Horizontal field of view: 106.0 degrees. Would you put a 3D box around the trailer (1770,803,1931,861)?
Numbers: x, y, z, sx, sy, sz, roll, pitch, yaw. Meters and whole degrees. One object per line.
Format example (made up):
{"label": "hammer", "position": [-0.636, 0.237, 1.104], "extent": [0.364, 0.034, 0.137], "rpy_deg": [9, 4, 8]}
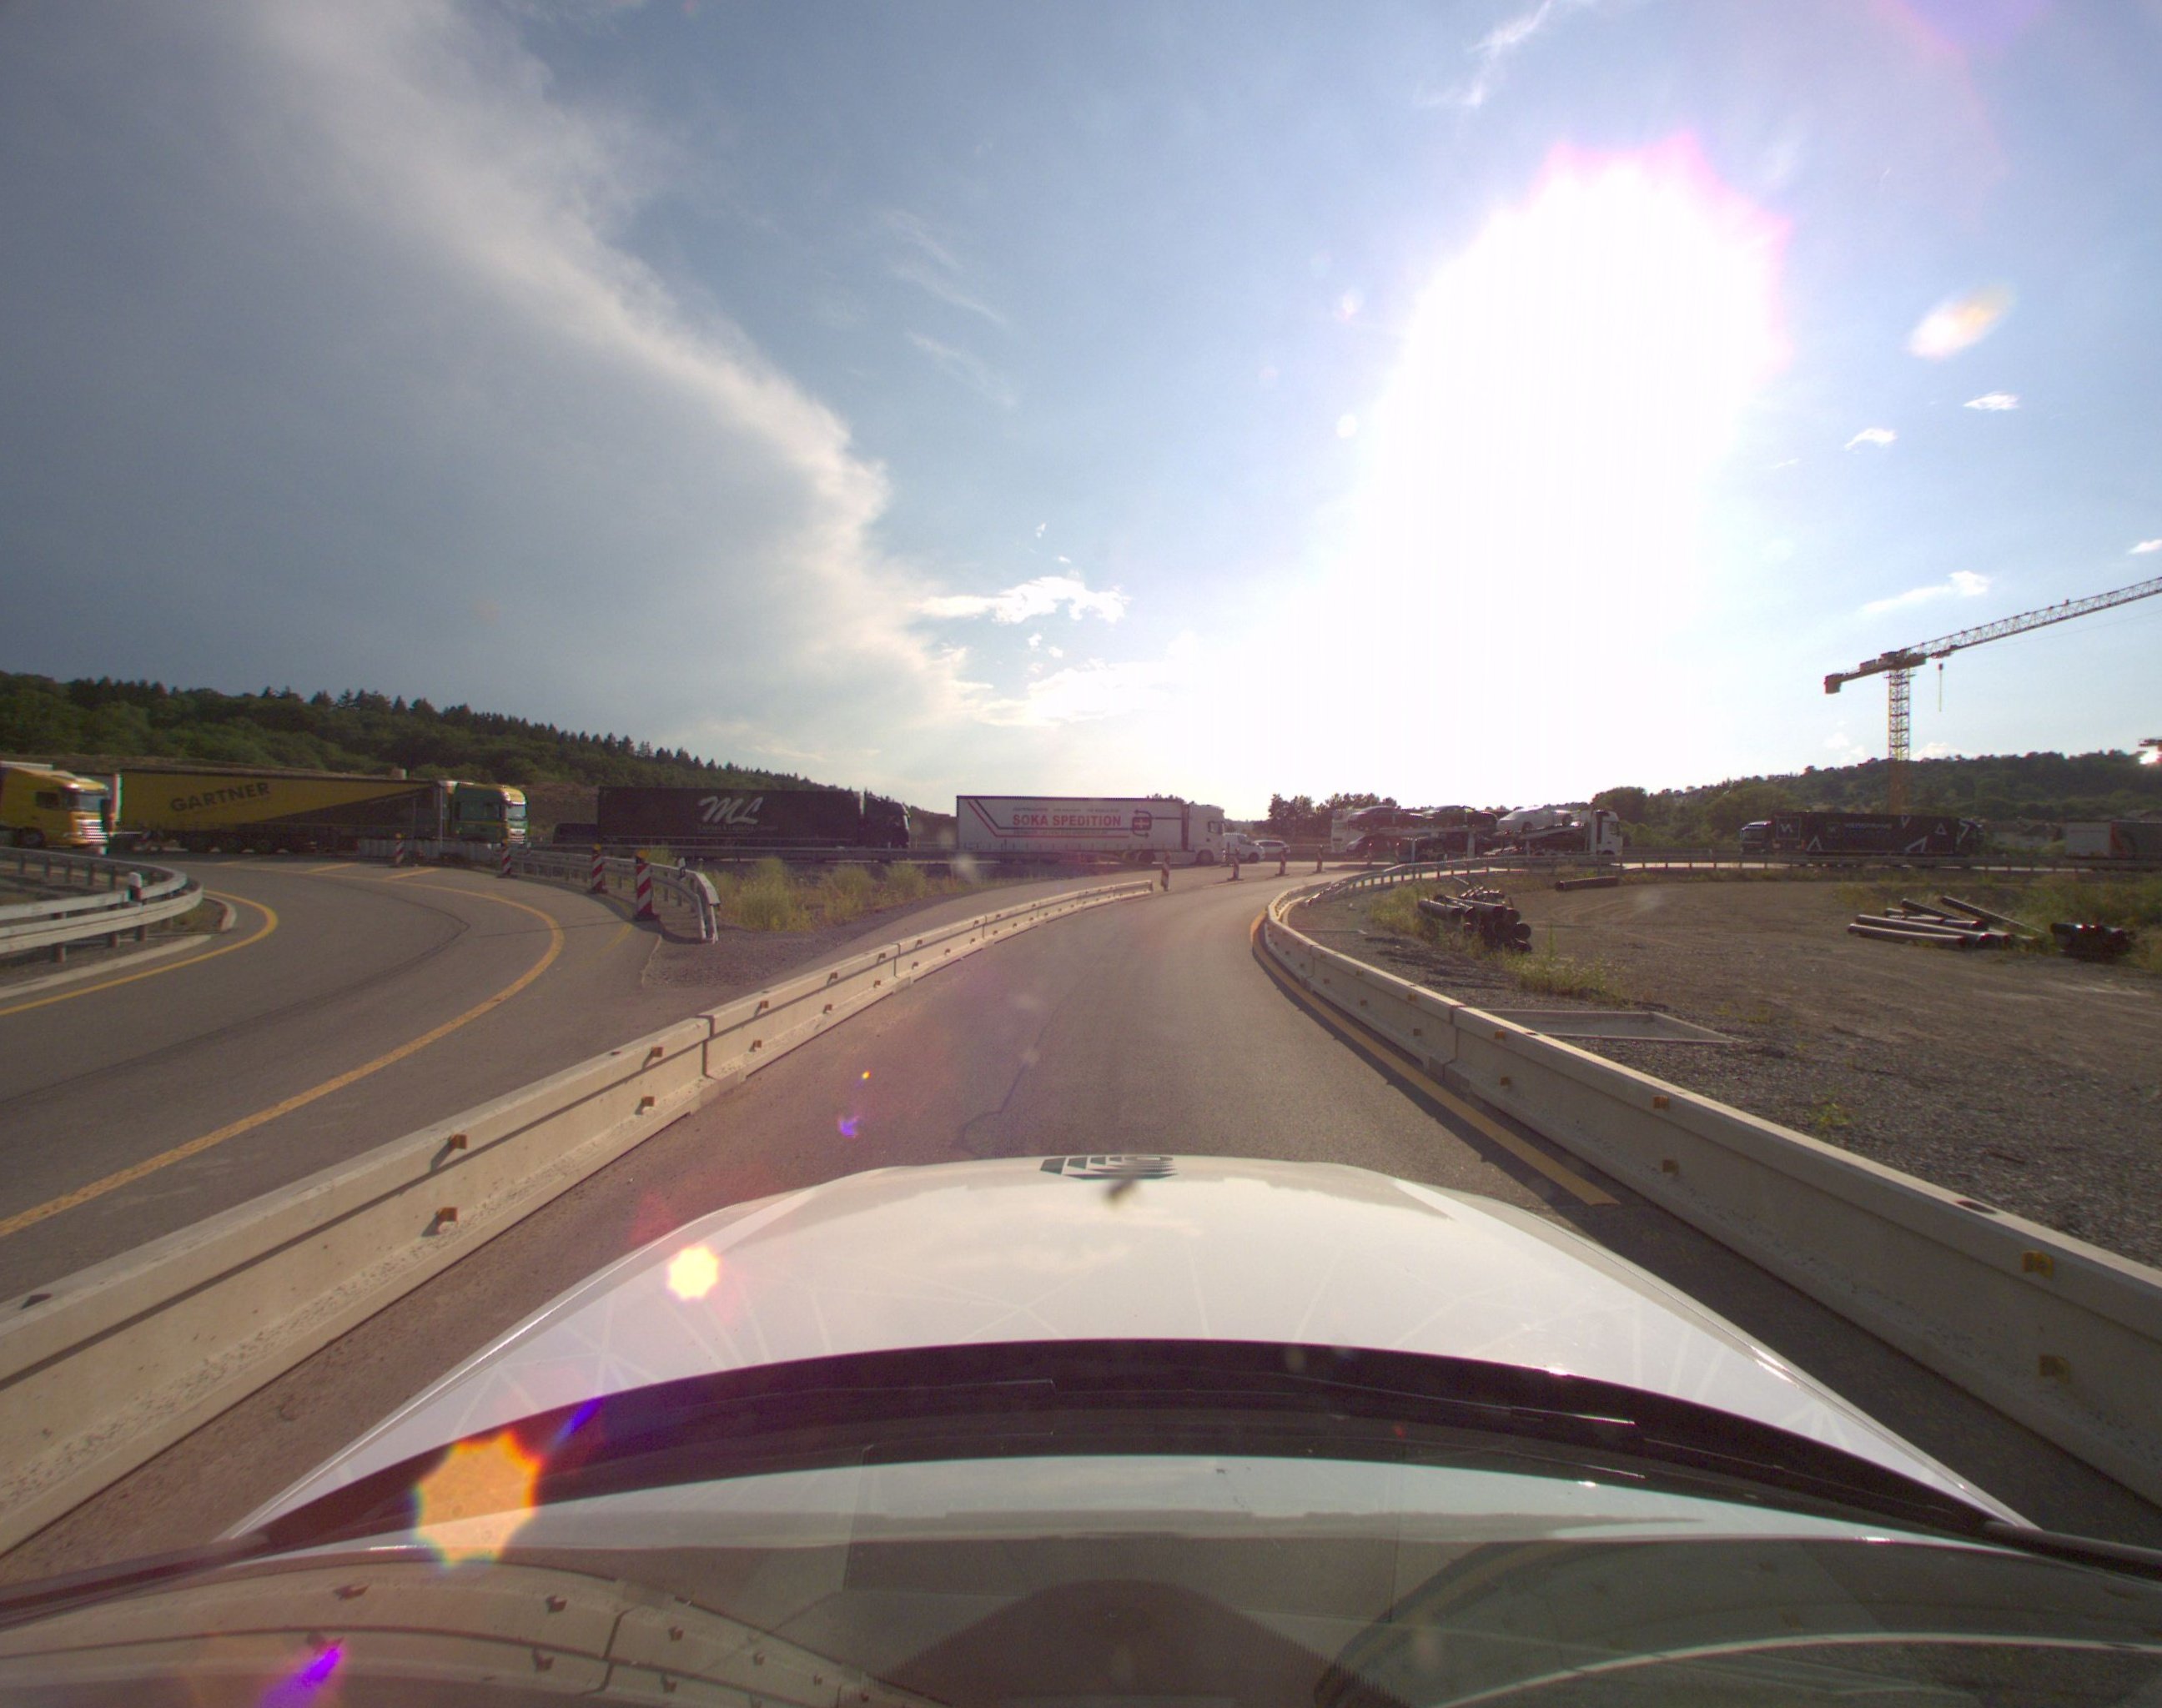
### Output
{"label": "trailer", "position": [57.496, -1.574, 60.917], "extent": [10.758, 4.092, 2.958], "rpy_deg": [1, 0, -10]}

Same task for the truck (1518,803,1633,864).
{"label": "truck", "position": [34.338, -1.392, 56.599], "extent": [6.605, 3.996, 2.847], "rpy_deg": [1, 0, -11]}

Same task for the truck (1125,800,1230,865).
{"label": "truck", "position": [5.992, -1.308, 50.888], "extent": [5.995, 3.878, 2.479], "rpy_deg": [1, 1, -12]}

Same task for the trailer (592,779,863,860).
{"label": "trailer", "position": [-19.301, -1.827, 45.505], "extent": [13.598, 4.061, 2.478], "rpy_deg": [1, 1, -13]}

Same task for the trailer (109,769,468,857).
{"label": "trailer", "position": [-39.833, -1.977, 41.502], "extent": [13.933, 3.958, 2.480], "rpy_deg": [1, 1, -11]}

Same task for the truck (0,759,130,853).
{"label": "truck", "position": [-51.537, -2.278, 39.246], "extent": [6.874, 4.314, 3.103], "rpy_deg": [1, -1, -10]}

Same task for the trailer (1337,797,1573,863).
{"label": "trailer", "position": [25.133, -1.520, 54.677], "extent": [15.700, 3.996, 2.856], "rpy_deg": [1, 0, -11]}

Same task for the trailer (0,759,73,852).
{"label": "trailer", "position": [-57.487, -2.358, 38.113], "extent": [14.207, 4.314, 3.103], "rpy_deg": [1, -1, -11]}

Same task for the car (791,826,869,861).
{"label": "car", "position": [-15.057, -0.600, 49.082], "extent": [4.320, 2.014, 1.520], "rpy_deg": [1, -1, -12]}

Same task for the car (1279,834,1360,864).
{"label": "car", "position": [16.357, -0.351, 56.054], "extent": [4.963, 1.980, 2.029], "rpy_deg": [0, 2, -10]}

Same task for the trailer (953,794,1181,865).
{"label": "trailer", "position": [-0.842, -1.419, 49.448], "extent": [13.593, 3.878, 2.479], "rpy_deg": [1, 1, -12]}

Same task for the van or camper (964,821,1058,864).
{"label": "van or camper", "position": [-4.531, -0.723, 52.556], "extent": [5.884, 2.619, 1.994], "rpy_deg": [1, 1, -10]}

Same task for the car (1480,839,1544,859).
{"label": "car", "position": [33.467, -0.394, 63.293], "extent": [4.224, 1.500, 1.657], "rpy_deg": [0, 2, -10]}

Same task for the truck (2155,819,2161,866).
{"label": "truck", "position": [94.826, -0.897, 68.189], "extent": [6.605, 3.996, 3.342], "rpy_deg": [1, 1, -11]}

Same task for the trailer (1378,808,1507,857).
{"label": "trailer", "position": [29.245, -1.675, 65.968], "extent": [9.539, 3.752, 3.006], "rpy_deg": [1, -1, -10]}

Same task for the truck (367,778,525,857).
{"label": "truck", "position": [-33.195, -1.863, 42.771], "extent": [5.993, 3.901, 2.480], "rpy_deg": [1, 1, -11]}

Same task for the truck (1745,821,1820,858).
{"label": "truck", "position": [62.231, -1.235, 72.298], "extent": [5.675, 3.134, 2.138], "rpy_deg": [1, -1, -13]}

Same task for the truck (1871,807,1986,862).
{"label": "truck", "position": [64.684, -1.448, 62.245], "extent": [6.602, 3.996, 2.885], "rpy_deg": [1, 0, -10]}

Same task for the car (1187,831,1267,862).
{"label": "car", "position": [9.837, -0.520, 55.063], "extent": [4.963, 1.980, 2.029], "rpy_deg": [0, 2, -10]}

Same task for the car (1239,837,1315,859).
{"label": "car", "position": [14.350, -0.424, 59.739], "extent": [4.963, 1.500, 2.029], "rpy_deg": [0, 2, -10]}

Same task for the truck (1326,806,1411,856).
{"label": "truck", "position": [22.854, -1.785, 64.773], "extent": [5.670, 3.727, 2.995], "rpy_deg": [1, -1, -11]}

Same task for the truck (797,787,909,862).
{"label": "truck", "position": [-13.026, -1.670, 46.977], "extent": [5.996, 4.060, 2.479], "rpy_deg": [1, 1, -12]}

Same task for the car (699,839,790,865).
{"label": "car", "position": [-21.078, -0.134, 51.217], "extent": [4.963, 1.500, 2.029], "rpy_deg": [0, 2, -10]}

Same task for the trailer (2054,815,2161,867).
{"label": "trailer", "position": [87.540, -0.949, 66.735], "extent": [14.702, 3.996, 3.383], "rpy_deg": [1, 1, -11]}
